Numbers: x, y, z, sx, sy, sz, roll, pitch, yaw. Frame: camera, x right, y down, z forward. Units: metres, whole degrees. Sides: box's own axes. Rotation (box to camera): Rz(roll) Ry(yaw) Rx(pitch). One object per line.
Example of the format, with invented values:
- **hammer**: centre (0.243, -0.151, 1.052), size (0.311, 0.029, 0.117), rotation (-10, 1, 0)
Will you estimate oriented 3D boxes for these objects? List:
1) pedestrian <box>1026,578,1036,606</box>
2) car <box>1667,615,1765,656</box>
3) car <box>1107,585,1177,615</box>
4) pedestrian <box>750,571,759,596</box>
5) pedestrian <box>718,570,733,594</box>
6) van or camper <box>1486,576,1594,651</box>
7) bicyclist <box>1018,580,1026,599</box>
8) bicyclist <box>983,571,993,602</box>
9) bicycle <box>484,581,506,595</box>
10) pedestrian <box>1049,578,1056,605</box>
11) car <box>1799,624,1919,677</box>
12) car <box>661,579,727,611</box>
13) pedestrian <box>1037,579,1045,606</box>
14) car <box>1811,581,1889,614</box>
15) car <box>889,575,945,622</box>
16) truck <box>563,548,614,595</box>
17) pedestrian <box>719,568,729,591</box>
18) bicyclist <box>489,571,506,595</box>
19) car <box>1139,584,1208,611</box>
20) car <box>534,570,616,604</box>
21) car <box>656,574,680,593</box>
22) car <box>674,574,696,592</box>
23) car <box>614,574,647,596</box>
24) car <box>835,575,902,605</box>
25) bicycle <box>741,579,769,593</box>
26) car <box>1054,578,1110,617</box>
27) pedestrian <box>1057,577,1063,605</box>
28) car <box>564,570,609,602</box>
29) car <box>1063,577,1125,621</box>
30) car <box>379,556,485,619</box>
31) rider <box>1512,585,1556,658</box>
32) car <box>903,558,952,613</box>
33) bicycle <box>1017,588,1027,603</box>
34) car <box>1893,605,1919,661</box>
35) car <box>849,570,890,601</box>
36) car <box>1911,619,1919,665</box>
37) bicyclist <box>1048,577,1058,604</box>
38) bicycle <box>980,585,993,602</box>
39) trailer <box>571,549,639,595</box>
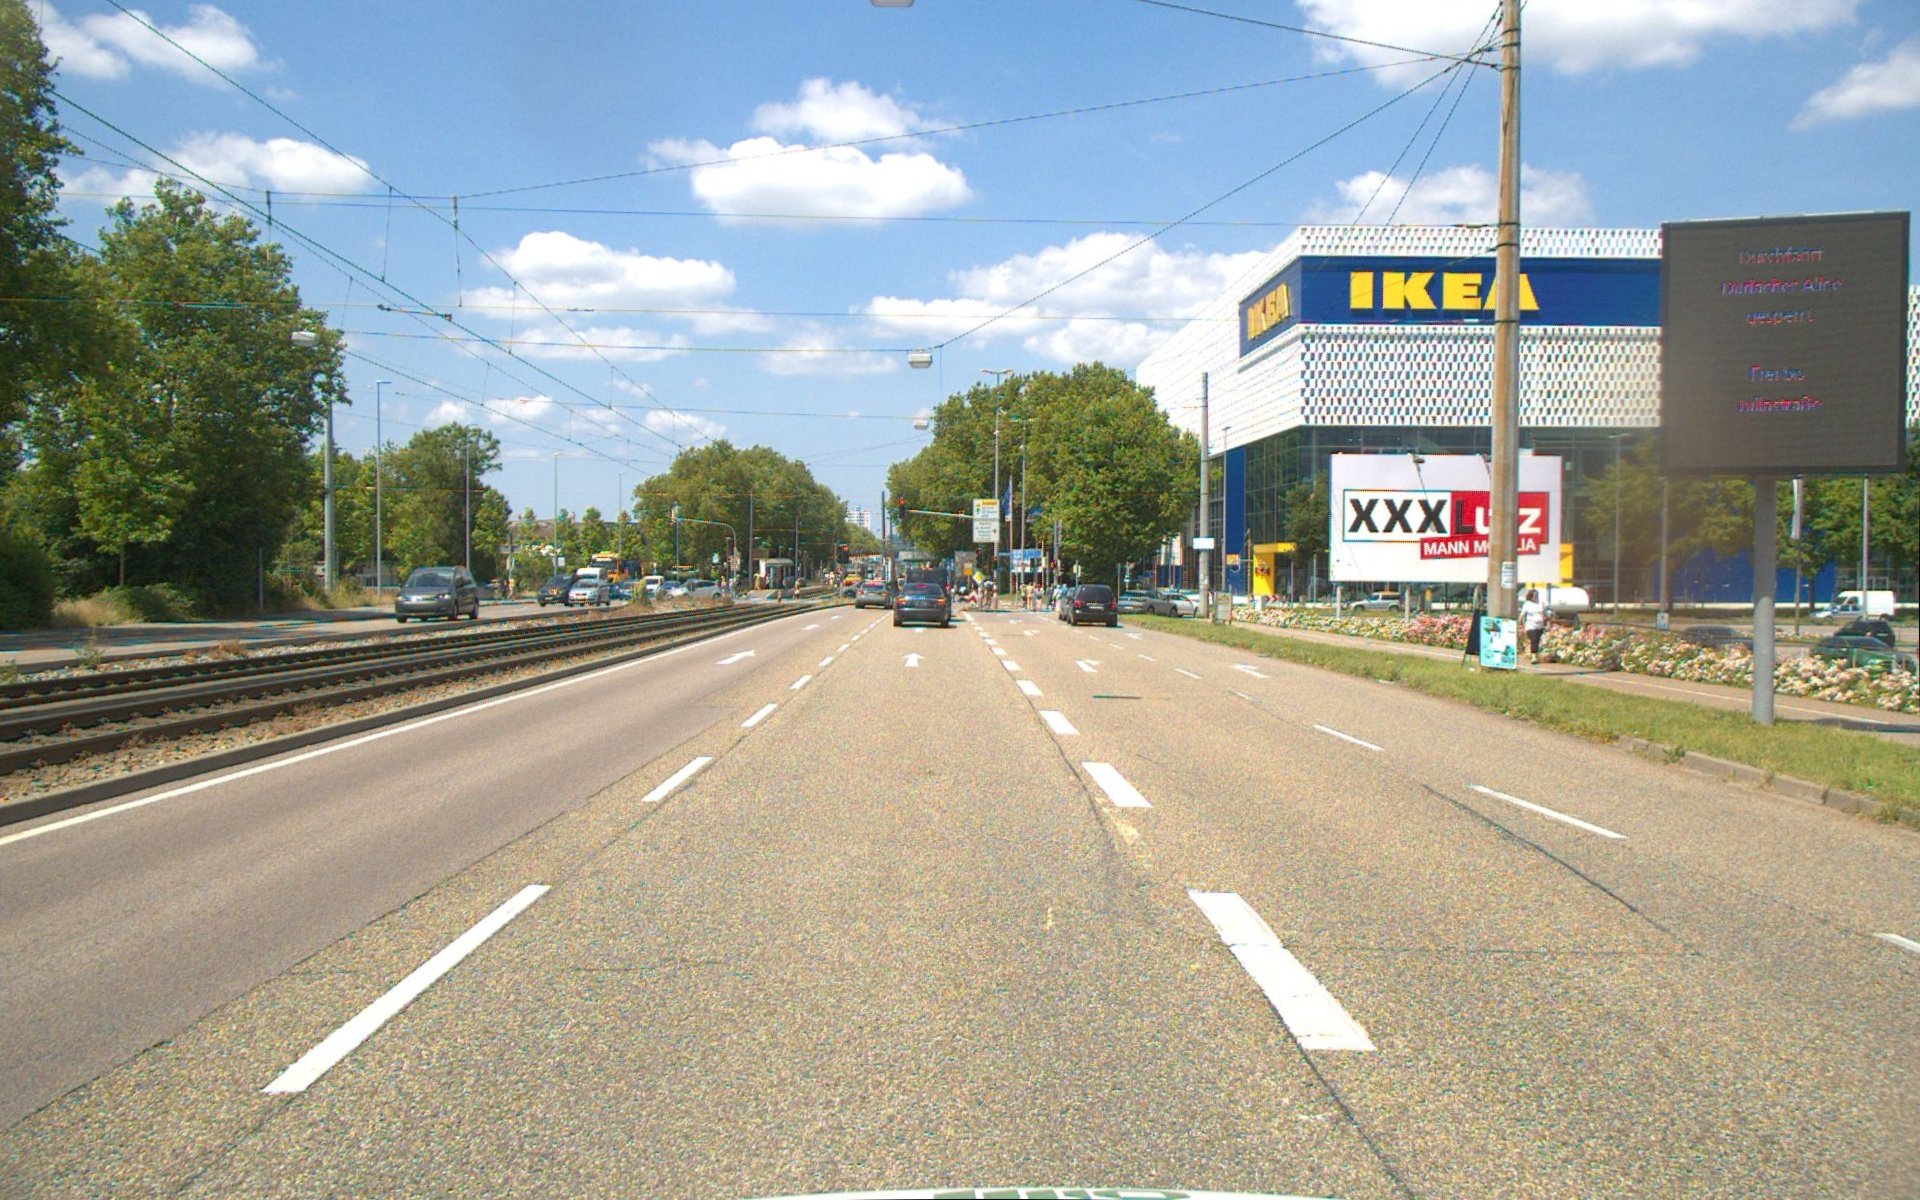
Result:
- **pedestrian**: centre (4.296, -0.468, 100.367), size (0.542, 1.663, 0.433), rotation (1, 0, 1)
- **car**: centre (32.278, 1.477, 70.765), size (1.953, 1.564, 4.768), rotation (0, 1, -1)
- **car**: centre (9.997, -0.006, 90.592), size (1.961, 1.512, 4.129), rotation (3, 1, 36)
- **pedestrian**: centre (-16.987, -1.361, 136.984), size (0.672, 2.049, 0.572), rotation (1, 0, -6)
- **pedestrian**: centre (-17.953, -1.376, 126.761), size (0.806, 1.750, 0.775), rotation (1, 0, 21)
- **van or camper**: centre (25.481, 0.539, 72.988), size (2.455, 3.072, 7.226), rotation (2, 1, 2)
- **bicyclist**: centre (3.838, -0.647, 102.415), size (0.461, 1.214, 0.791), rotation (1, 0, 1)
- **bicyclist**: centre (1.698, -0.811, 100.396), size (0.518, 1.820, 1.088), rotation (1, 0, -1)
- **bicycle**: centre (-34.489, -0.874, 122.702), size (1.462, 1.004, 0.485), rotation (1, 0, -5)
- **pedestrian**: centre (5.732, -0.499, 102.532), size (0.332, 1.663, 0.377), rotation (1, 0, 2)
- **car**: centre (30.149, 1.641, 55.276), size (1.953, 1.522, 4.302), rotation (-2, 1, -1)
- **car**: centre (-17.884, -0.343, 111.206), size (3.943, 1.881, 1.981), rotation (3, 1, -29)
- **pedestrian**: centre (4.945, -0.455, 100.443), size (0.436, 1.663, 0.430), rotation (1, 0, 2)
- **car**: centre (66.114, -0.184, 122.910), size (4.659, 2.349, 2.001), rotation (1, 0, 4)
- **car**: centre (-1.410, -0.073, 54.810), size (1.756, 1.480, 3.999), rotation (0, 1, -1)
- **truck**: centre (-29.791, -2.249, 132.839), size (2.711, 3.631, 6.438), rotation (1, 1, -2)
- **pedestrian**: centre (-17.540, -1.525, 123.039), size (0.672, 1.666, 0.572), rotation (1, 0, -5)
- **bicyclist**: centre (-34.306, -1.260, 122.747), size (1.097, 1.805, 0.340), rotation (1, 0, -6)
- **car**: centre (13.064, -0.153, 101.175), size (1.966, 1.512, 4.360), rotation (3, 1, 43)
- **car**: centre (-22.839, -0.746, 98.399), size (1.955, 1.862, 4.963), rotation (3, 1, 27)
- **car**: centre (-29.858, -1.705, 169.101), size (1.781, 1.916, 3.999), rotation (1, 1, -2)
- **car**: centre (-30.088, -1.819, 181.003), size (1.781, 1.916, 3.999), rotation (1, 1, -2)
- **car**: centre (-26.089, -1.205, 131.151), size (1.785, 1.699, 4.460), rotation (2, 1, -1)
- **car**: centre (-6.535, -0.719, 118.111), size (4.334, 1.951, 1.987), rotation (2, 1, -22)
- **bicycle**: centre (-15.318, -1.039, 123.673), size (2.019, 0.941, 0.751), rotation (1, 0, -11)
- **car**: centre (5.147, -0.140, 70.293), size (1.953, 1.512, 4.166), rotation (2, 1, -1)
- **pedestrian**: centre (6.085, -0.536, 100.447), size (0.314, 1.663, 0.377), rotation (1, 0, 2)
- **car**: centre (-19.975, -0.782, 88.566), size (1.652, 1.611, 4.057), rotation (-2, 1, -3)
- **car**: centre (5.100, -0.070, 63.431), size (1.953, 1.512, 3.999), rotation (2, 1, -1)
- **car**: centre (-16.765, -0.417, 52.774), size (1.954, 1.862, 4.967), rotation (-2, 1, -3)
- **rider**: centre (11.845, 0.430, 34.160), size (0.655, 1.483, 0.618), rotation (1, 0, -2)
- **car**: centre (-1.283, -0.605, 64.604), size (1.799, 1.984, 4.000), rotation (1, 2, -2)
- **bicycle**: centre (3.839, -0.289, 102.434), size (0.538, 0.892, 1.698), rotation (1, 1, 1)
- **car**: centre (37.049, 1.262, 61.413), size (1.953, 2.049, 5.000), rotation (-1, 1, -1)
- **car**: centre (-4.769, -0.777, 87.693), size (1.953, 1.512, 3.999), rotation (2, 1, -1)
- **car**: centre (34.633, 1.523, 55.921), size (1.953, 1.577, 5.000), rotation (2, 1, -1)
- **bicyclist**: centre (6.311, -0.655, 112.575), size (0.517, 1.795, 0.828), rotation (1, 0, 12)
- **bicycle**: centre (1.615, -0.421, 100.996), size (0.674, 1.011, 2.751), rotation (1, 1, -1)
- **trailer**: centre (-29.982, -2.337, 140.545), size (2.711, 3.579, 15.874), rotation (1, 1, -1)
